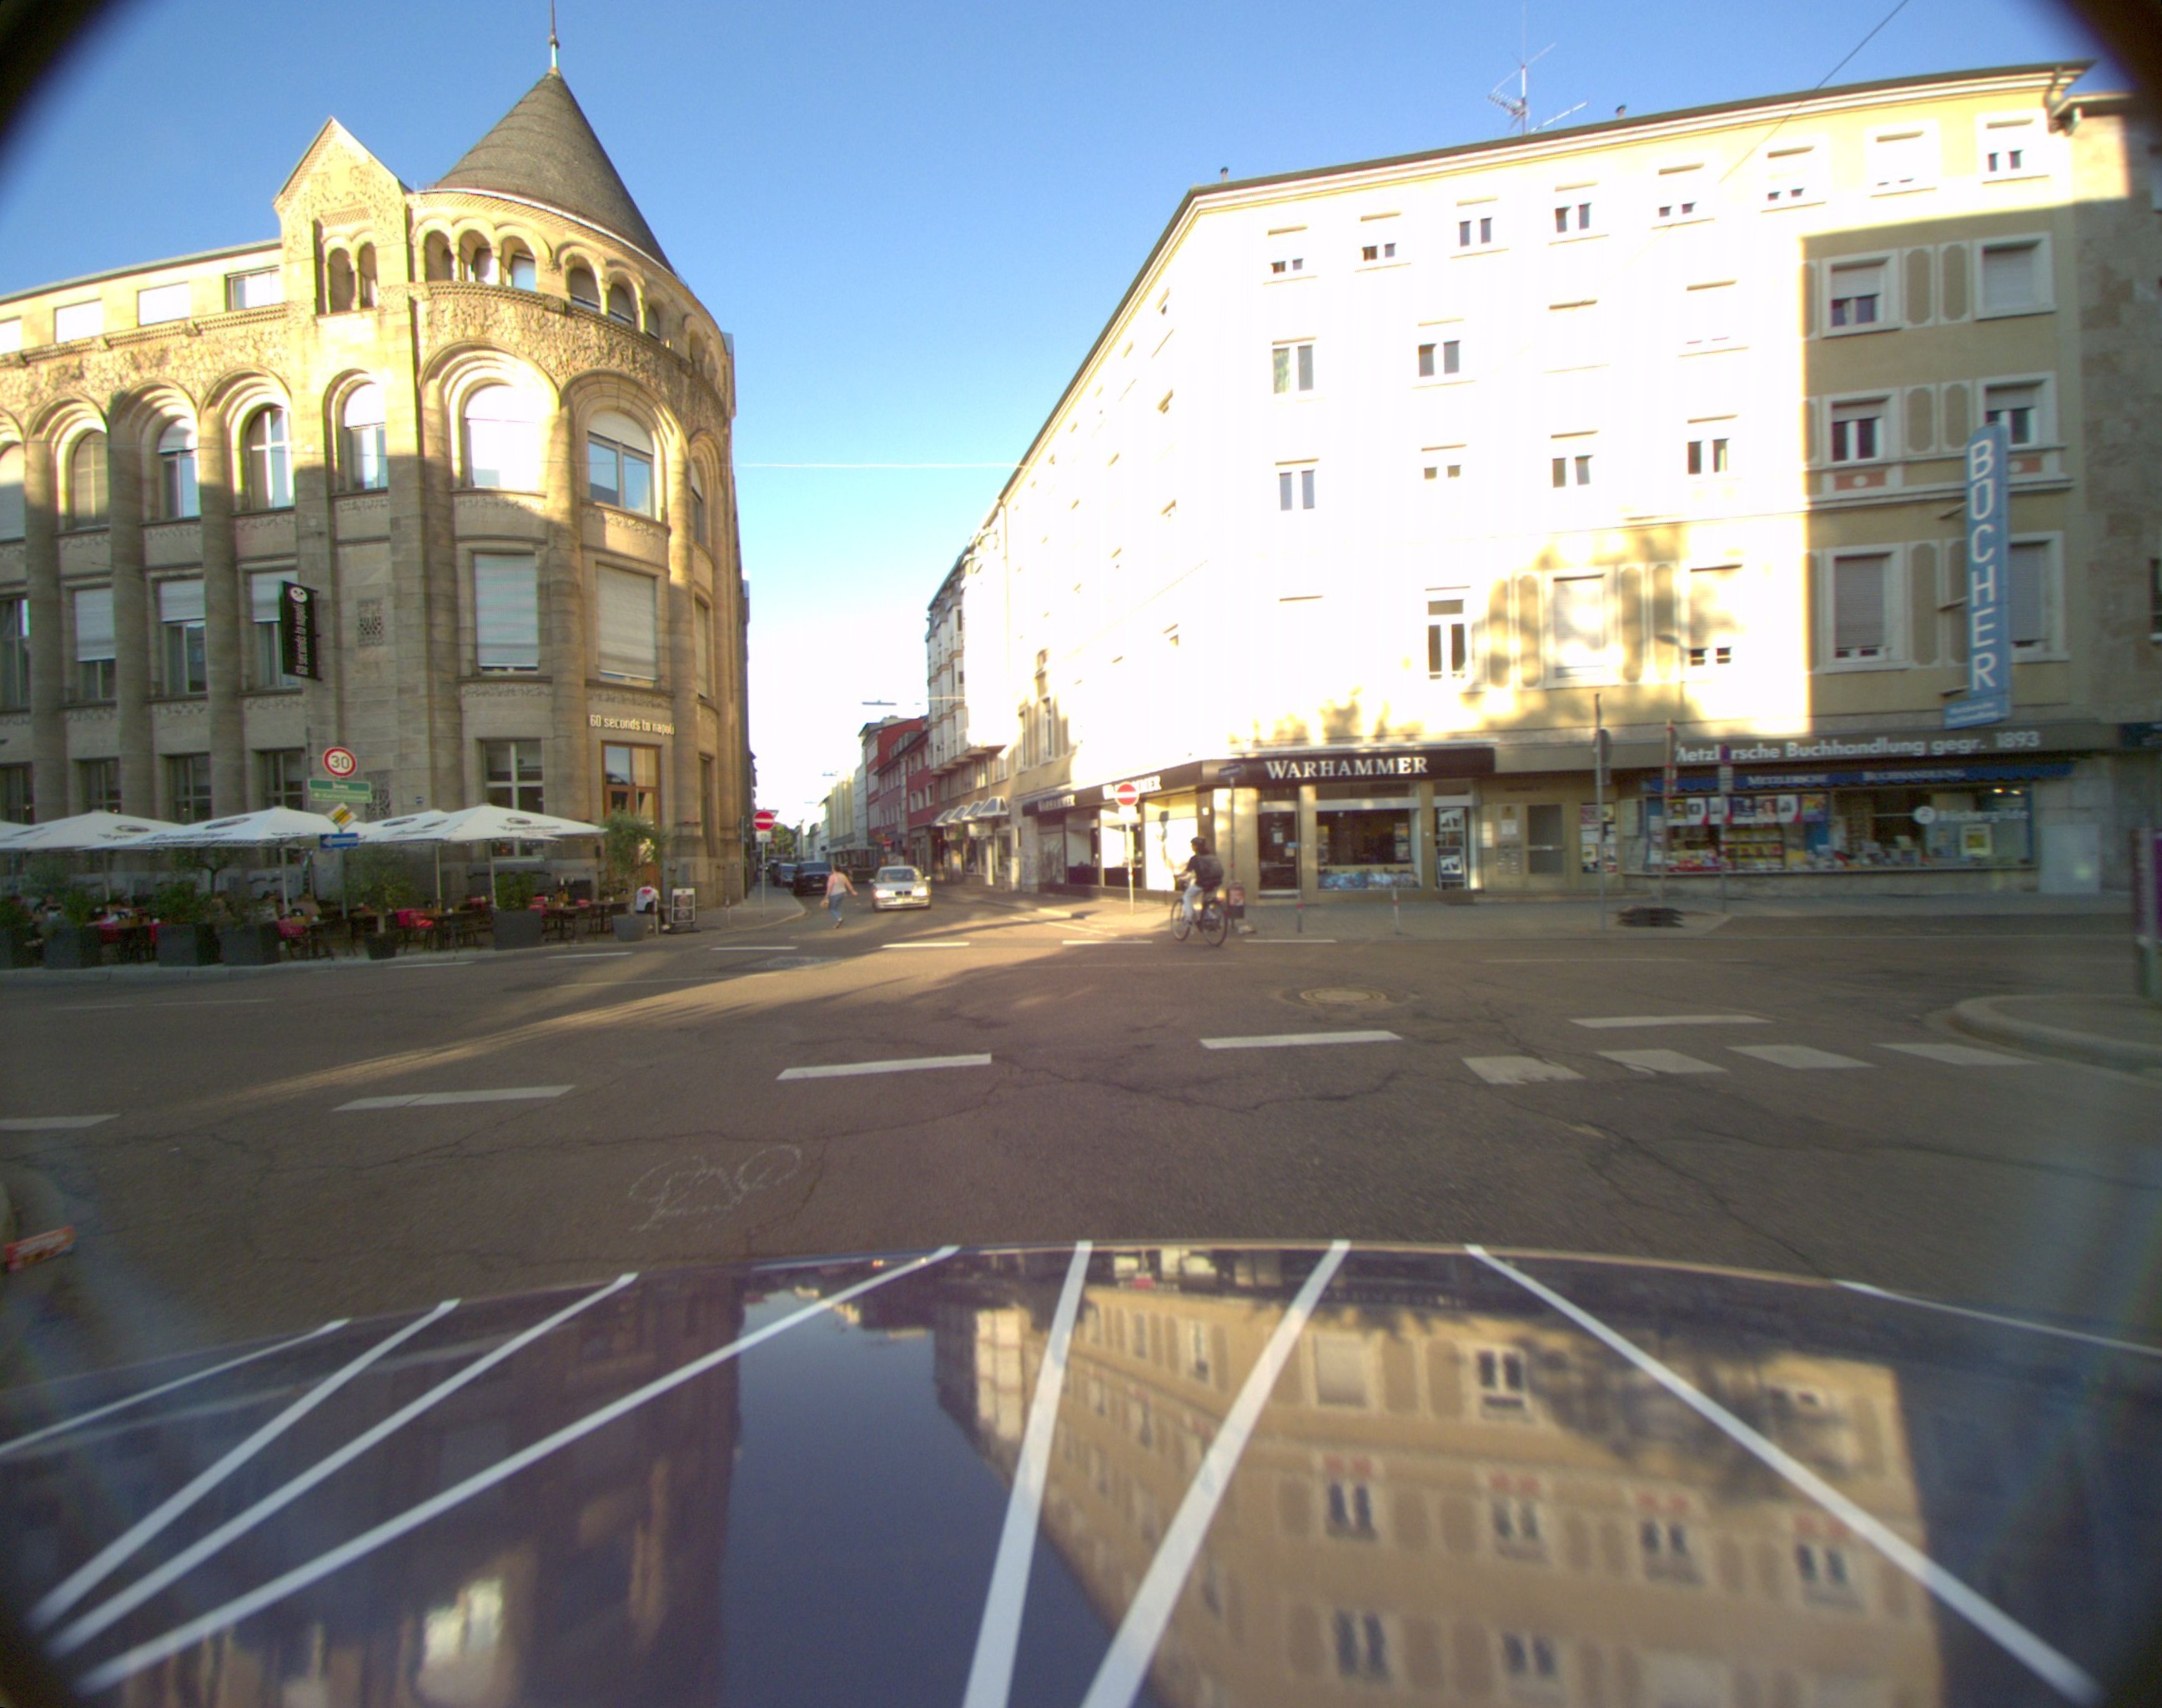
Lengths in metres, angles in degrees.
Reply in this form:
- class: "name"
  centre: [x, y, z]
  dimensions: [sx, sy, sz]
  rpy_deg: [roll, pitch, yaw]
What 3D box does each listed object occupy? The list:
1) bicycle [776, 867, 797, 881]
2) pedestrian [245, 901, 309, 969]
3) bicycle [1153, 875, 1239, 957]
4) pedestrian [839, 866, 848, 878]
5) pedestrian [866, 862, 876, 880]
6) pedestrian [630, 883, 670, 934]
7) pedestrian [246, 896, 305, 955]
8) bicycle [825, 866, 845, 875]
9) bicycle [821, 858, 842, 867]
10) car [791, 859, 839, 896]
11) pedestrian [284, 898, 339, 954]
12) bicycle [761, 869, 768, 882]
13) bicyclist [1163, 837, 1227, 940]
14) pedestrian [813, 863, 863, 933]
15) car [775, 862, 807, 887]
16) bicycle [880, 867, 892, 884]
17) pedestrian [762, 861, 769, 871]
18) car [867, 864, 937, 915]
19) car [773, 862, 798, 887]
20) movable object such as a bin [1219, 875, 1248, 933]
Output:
- class: "bicycle"
  centre: [-28.969, 1.982, 74.809]
  dimensions: [1.877, 1.295, 0.595]
  rpy_deg: [2, -1, -22]
- class: "pedestrian"
  centre: [-15.758, 1.569, 14.902]
  dimensions: [0.687, 1.238, 0.599]
  rpy_deg: [-2, 0, -31]
- class: "bicycle"
  centre: [1.810, 0.942, 12.216]
  dimensions: [0.666, 1.132, 1.819]
  rpy_deg: [-2, 1, -15]
- class: "pedestrian"
  centre: [-21.598, 1.658, 69.143]
  dimensions: [0.635, 1.061, 0.559]
  rpy_deg: [-3, 1, -30]
- class: "pedestrian"
  centre: [-17.484, 1.403, 63.360]
  dimensions: [0.613, 1.464, 0.546]
  rpy_deg: [-3, 1, -30]
- class: "pedestrian"
  centre: [-10.615, 1.332, 18.742]
  dimensions: [0.608, 1.181, 0.821]
  rpy_deg: [-2, 0, -12]
- class: "pedestrian"
  centre: [-17.866, 1.580, 16.855]
  dimensions: [0.685, 1.238, 0.601]
  rpy_deg: [-2, 0, 12]
- class: "bicycle"
  centre: [-32.524, 2.177, 100.559]
  dimensions: [2.485, 1.172, 0.783]
  rpy_deg: [-2, 1, -17]
- class: "bicycle"
  centre: [-32.536, 1.100, 99.001]
  dimensions: [2.485, 1.172, 0.783]
  rpy_deg: [-2, 1, -17]
- class: "car"
  centre: [-14.142, 1.187, 40.284]
  dimensions: [2.002, 1.773, 4.925]
  rpy_deg: [-2, 0, -23]
- class: "pedestrian"
  centre: [-16.876, 1.571, 16.663]
  dimensions: [0.572, 1.181, 0.601]
  rpy_deg: [-2, 0, 12]
- class: "bicycle"
  centre: [-28.328, 1.910, 67.931]
  dimensions: [0.521, 1.083, 1.749]
  rpy_deg: [2, -1, -22]
- class: "bicyclist"
  centre: [1.806, 0.520, 12.125]
  dimensions: [0.661, 1.561, 0.862]
  rpy_deg: [-2, 1, -17]
- class: "pedestrian"
  centre: [-5.782, 1.021, 18.073]
  dimensions: [0.732, 1.603, 0.806]
  rpy_deg: [-1, 1, 39]
- class: "car"
  centre: [-20.683, 1.420, 54.124]
  dimensions: [1.781, 1.656, 3.992]
  rpy_deg: [-1, 0, -25]
- class: "bicycle"
  centre: [-13.794, 1.498, 53.795]
  dimensions: [0.546, 1.185, 1.839]
  rpy_deg: [-2, 0, -23]
- class: "pedestrian"
  centre: [-39.262, 1.531, 94.456]
  dimensions: [0.738, 1.236, 0.645]
  rpy_deg: [-2, 1, -21]
- class: "car"
  centre: [-5.859, 1.096, 24.887]
  dimensions: [2.001, 1.414, 4.453]
  rpy_deg: [-2, 0, -13]
- class: "car"
  centre: [-23.043, 1.573, 59.191]
  dimensions: [1.677, 1.796, 4.232]
  rpy_deg: [-3, 0, -21]
- class: "movable object such as a bin"
  centre: [2.890, 0.940, 14.420]
  dimensions: [0.361, 1.057, 0.355]
  rpy_deg: [-2, 1, -32]
